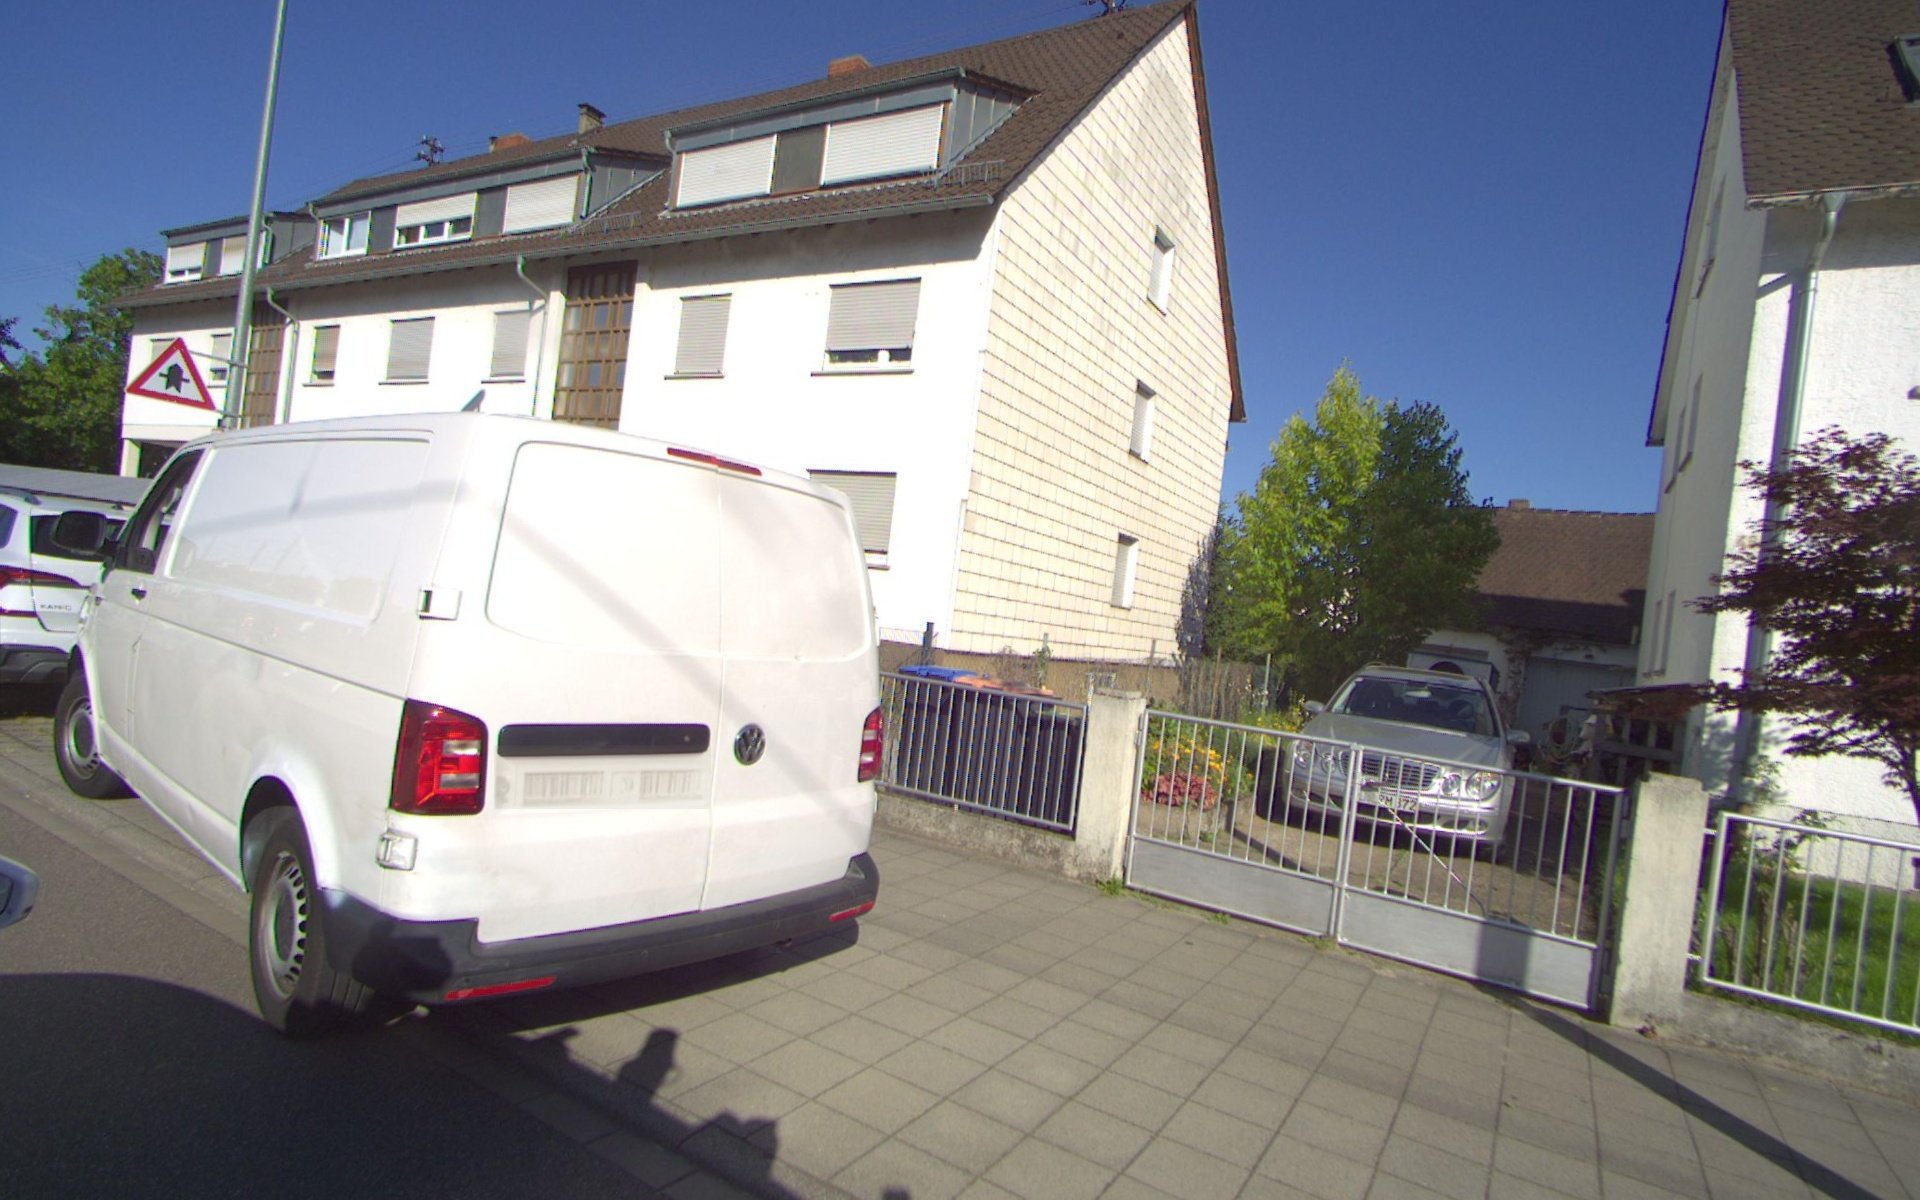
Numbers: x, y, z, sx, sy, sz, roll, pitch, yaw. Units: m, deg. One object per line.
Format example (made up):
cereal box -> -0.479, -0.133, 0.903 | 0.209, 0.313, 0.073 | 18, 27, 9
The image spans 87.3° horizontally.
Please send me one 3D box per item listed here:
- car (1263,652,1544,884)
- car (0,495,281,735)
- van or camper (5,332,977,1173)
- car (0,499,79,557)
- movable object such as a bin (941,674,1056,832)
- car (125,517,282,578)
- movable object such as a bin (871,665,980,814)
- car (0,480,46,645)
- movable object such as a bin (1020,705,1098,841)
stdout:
car -> 4.535, 1.428, 9.894 | 1.875, 1.495, 4.720 | 6, -1, 29
car -> -7.343, -0.031, 8.023 | 4.092, 1.511, 1.658 | 6, 0, 33
van or camper -> -2.672, 0.214, 4.805 | 5.218, 1.980, 2.026 | 7, 0, 40
car -> -29.568, -2.329, 30.727 | 1.620, 1.548, 3.599 | 6, -1, 33
movable object such as a bin -> 0.252, 0.988, 6.600 | 0.587, 0.920, 0.287 | 6, -1, 34
car -> -26.623, -1.812, 35.524 | 1.715, 1.515, 4.007 | 7, -1, 33
movable object such as a bin -> -0.241, 0.952, 6.971 | 0.587, 0.920, 0.287 | 6, -1, 34
car -> -11.898, -0.620, 10.744 | 4.779, 1.650, 1.792 | 6, 1, 31
movable object such as a bin -> 0.624, 1.077, 6.330 | 0.312, 0.788, 0.253 | 7, -1, 34
